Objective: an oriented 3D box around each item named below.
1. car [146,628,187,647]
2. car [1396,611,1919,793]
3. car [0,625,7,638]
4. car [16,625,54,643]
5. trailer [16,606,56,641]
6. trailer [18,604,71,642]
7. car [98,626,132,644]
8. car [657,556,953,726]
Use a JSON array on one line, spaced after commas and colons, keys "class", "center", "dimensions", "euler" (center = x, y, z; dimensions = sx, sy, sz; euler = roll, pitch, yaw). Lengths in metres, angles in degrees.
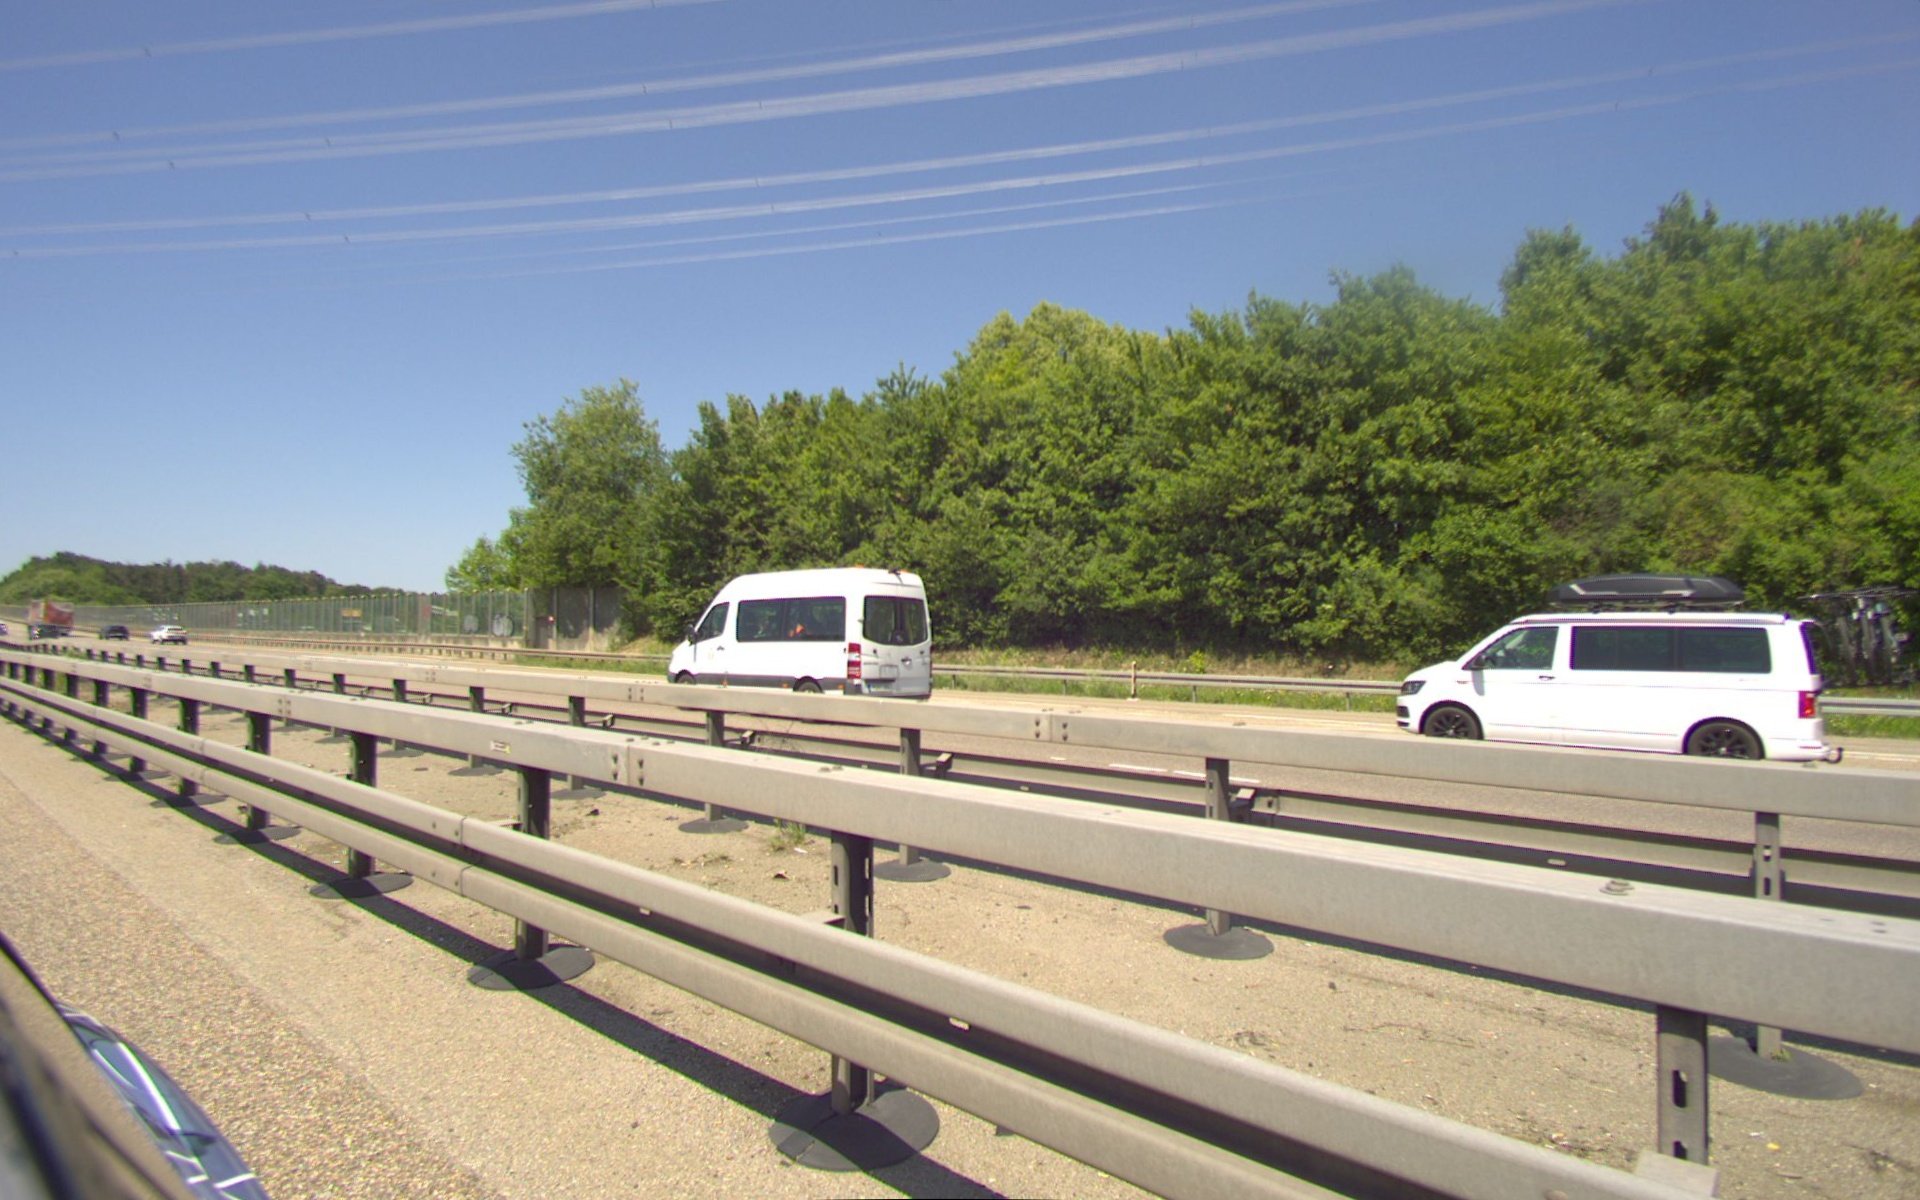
[{"class": "car", "center": [-65.633, 3.087, 83.705], "dimensions": [4.341, 1.467, 1.668], "euler": [-1, -3, 39]}, {"class": "car", "center": [8.772, 1.135, 13.078], "dimensions": [5.489, 1.919, 1.845], "euler": [-1, -3, 41]}, {"class": "car", "center": [-111.869, 3.588, 117.052], "dimensions": [4.301, 1.478, 1.832], "euler": [0, -2, 40]}, {"class": "car", "center": [-77.893, 2.829, 85.199], "dimensions": [4.142, 1.457, 1.857], "euler": [0, -3, 40]}, {"class": "trailer", "center": [-109.085, 2.866, 119.490], "dimensions": [6.128, 4.007, 2.728], "euler": [-2, -4, 41]}, {"class": "trailer", "center": [-104.602, 2.721, 115.496], "dimensions": [14.674, 4.007, 2.734], "euler": [-2, -4, 41]}, {"class": "car", "center": [-83.763, 3.446, 100.293], "dimensions": [5.274, 1.588, 1.972], "euler": [0, 0, 43]}, {"class": "car", "center": [-3.006, 0.736, 18.565], "dimensions": [5.838, 2.671, 2.030], "euler": [-1, -5, 42]}]
